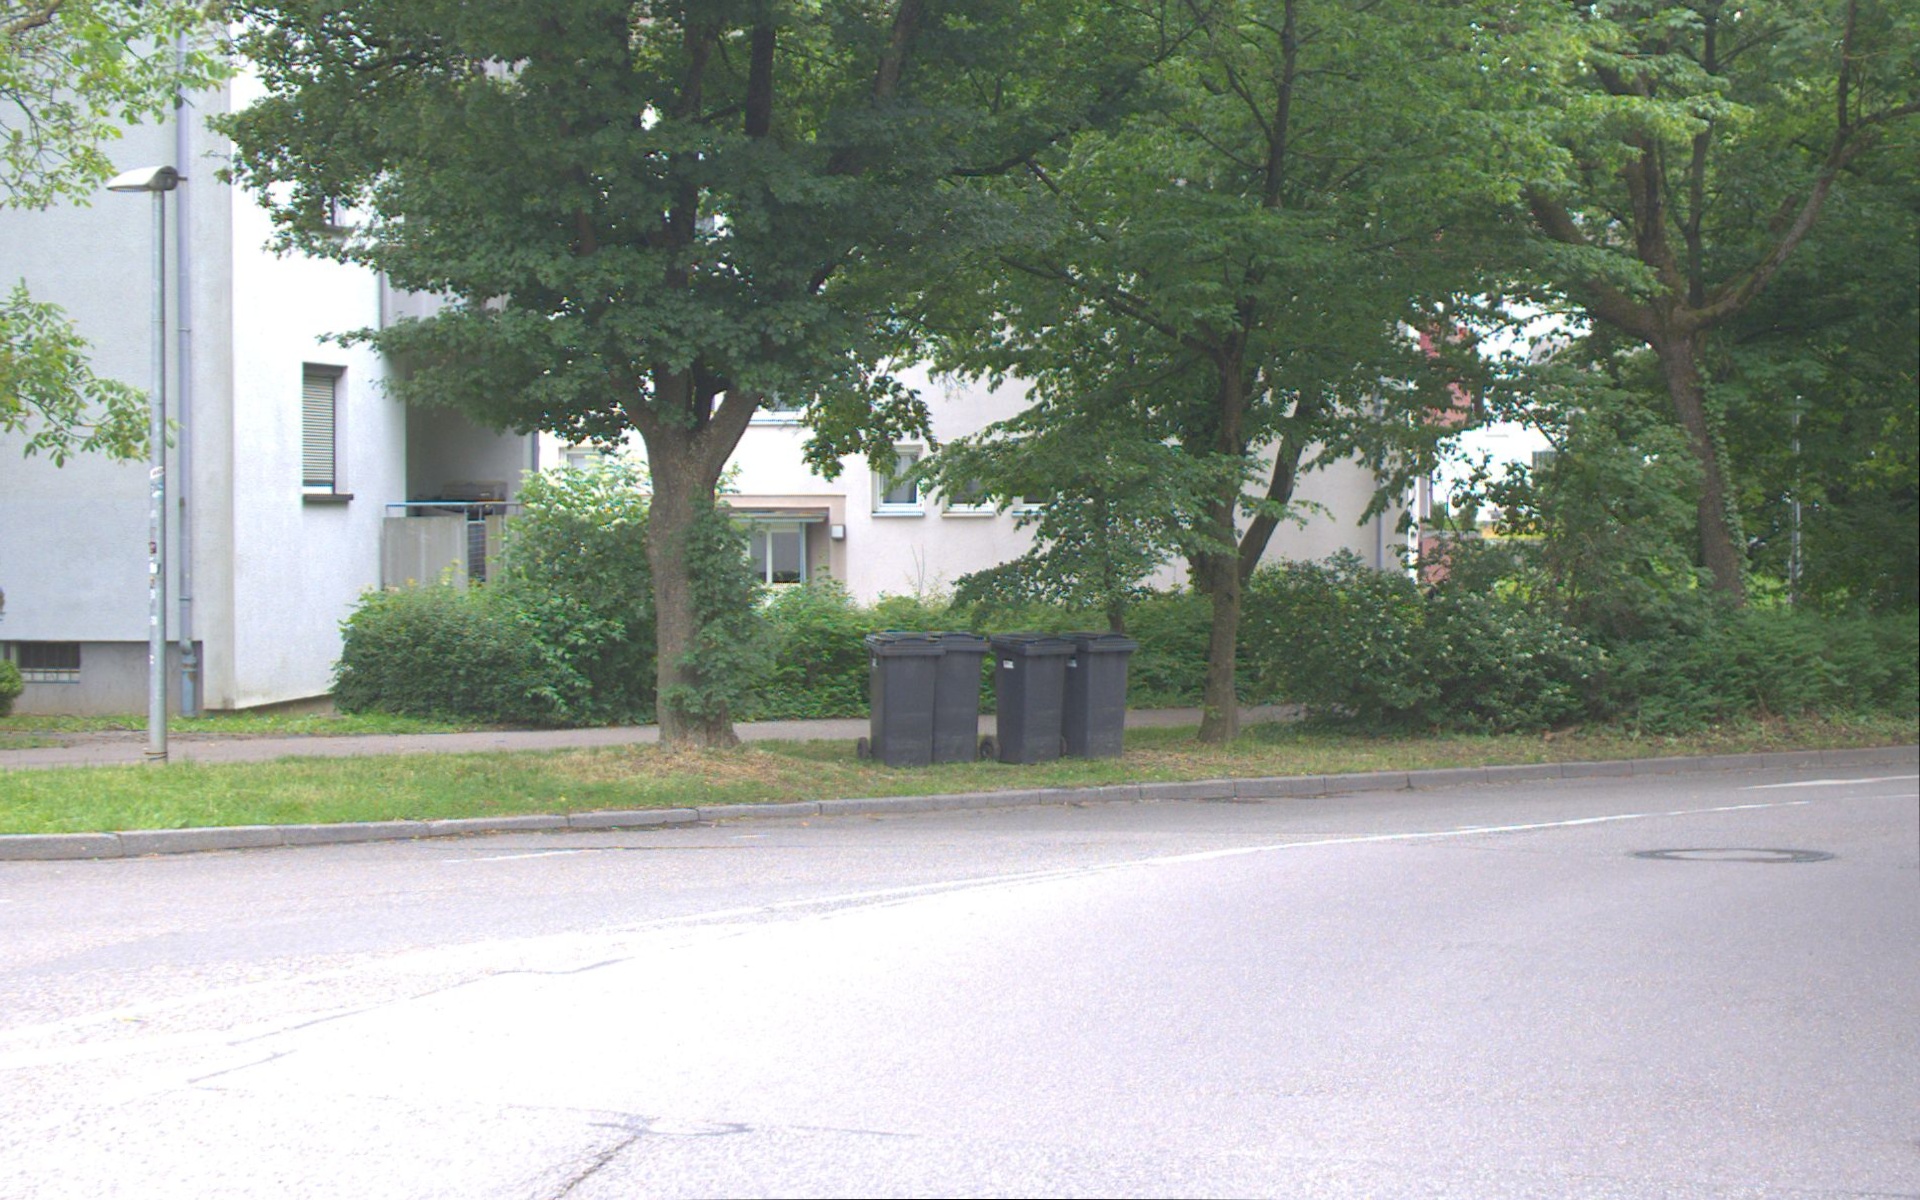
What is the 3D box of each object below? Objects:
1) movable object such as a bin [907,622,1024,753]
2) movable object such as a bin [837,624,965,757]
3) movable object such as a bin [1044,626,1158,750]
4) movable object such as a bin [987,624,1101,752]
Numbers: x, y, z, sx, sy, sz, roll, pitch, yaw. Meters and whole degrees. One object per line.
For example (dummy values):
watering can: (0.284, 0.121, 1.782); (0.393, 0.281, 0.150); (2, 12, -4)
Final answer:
movable object such as a bin: (0.036, 0.620, 24.399); (0.591, 0.876, 0.621); (1, 3, -25)
movable object such as a bin: (-0.417, 0.629, 23.954); (0.620, 0.860, 0.731); (1, 3, -25)
movable object such as a bin: (1.018, 0.635, 24.892); (0.576, 0.842, 0.601); (1, 3, -25)
movable object such as a bin: (0.600, 0.628, 24.636); (0.576, 0.863, 0.601); (1, 3, -25)
